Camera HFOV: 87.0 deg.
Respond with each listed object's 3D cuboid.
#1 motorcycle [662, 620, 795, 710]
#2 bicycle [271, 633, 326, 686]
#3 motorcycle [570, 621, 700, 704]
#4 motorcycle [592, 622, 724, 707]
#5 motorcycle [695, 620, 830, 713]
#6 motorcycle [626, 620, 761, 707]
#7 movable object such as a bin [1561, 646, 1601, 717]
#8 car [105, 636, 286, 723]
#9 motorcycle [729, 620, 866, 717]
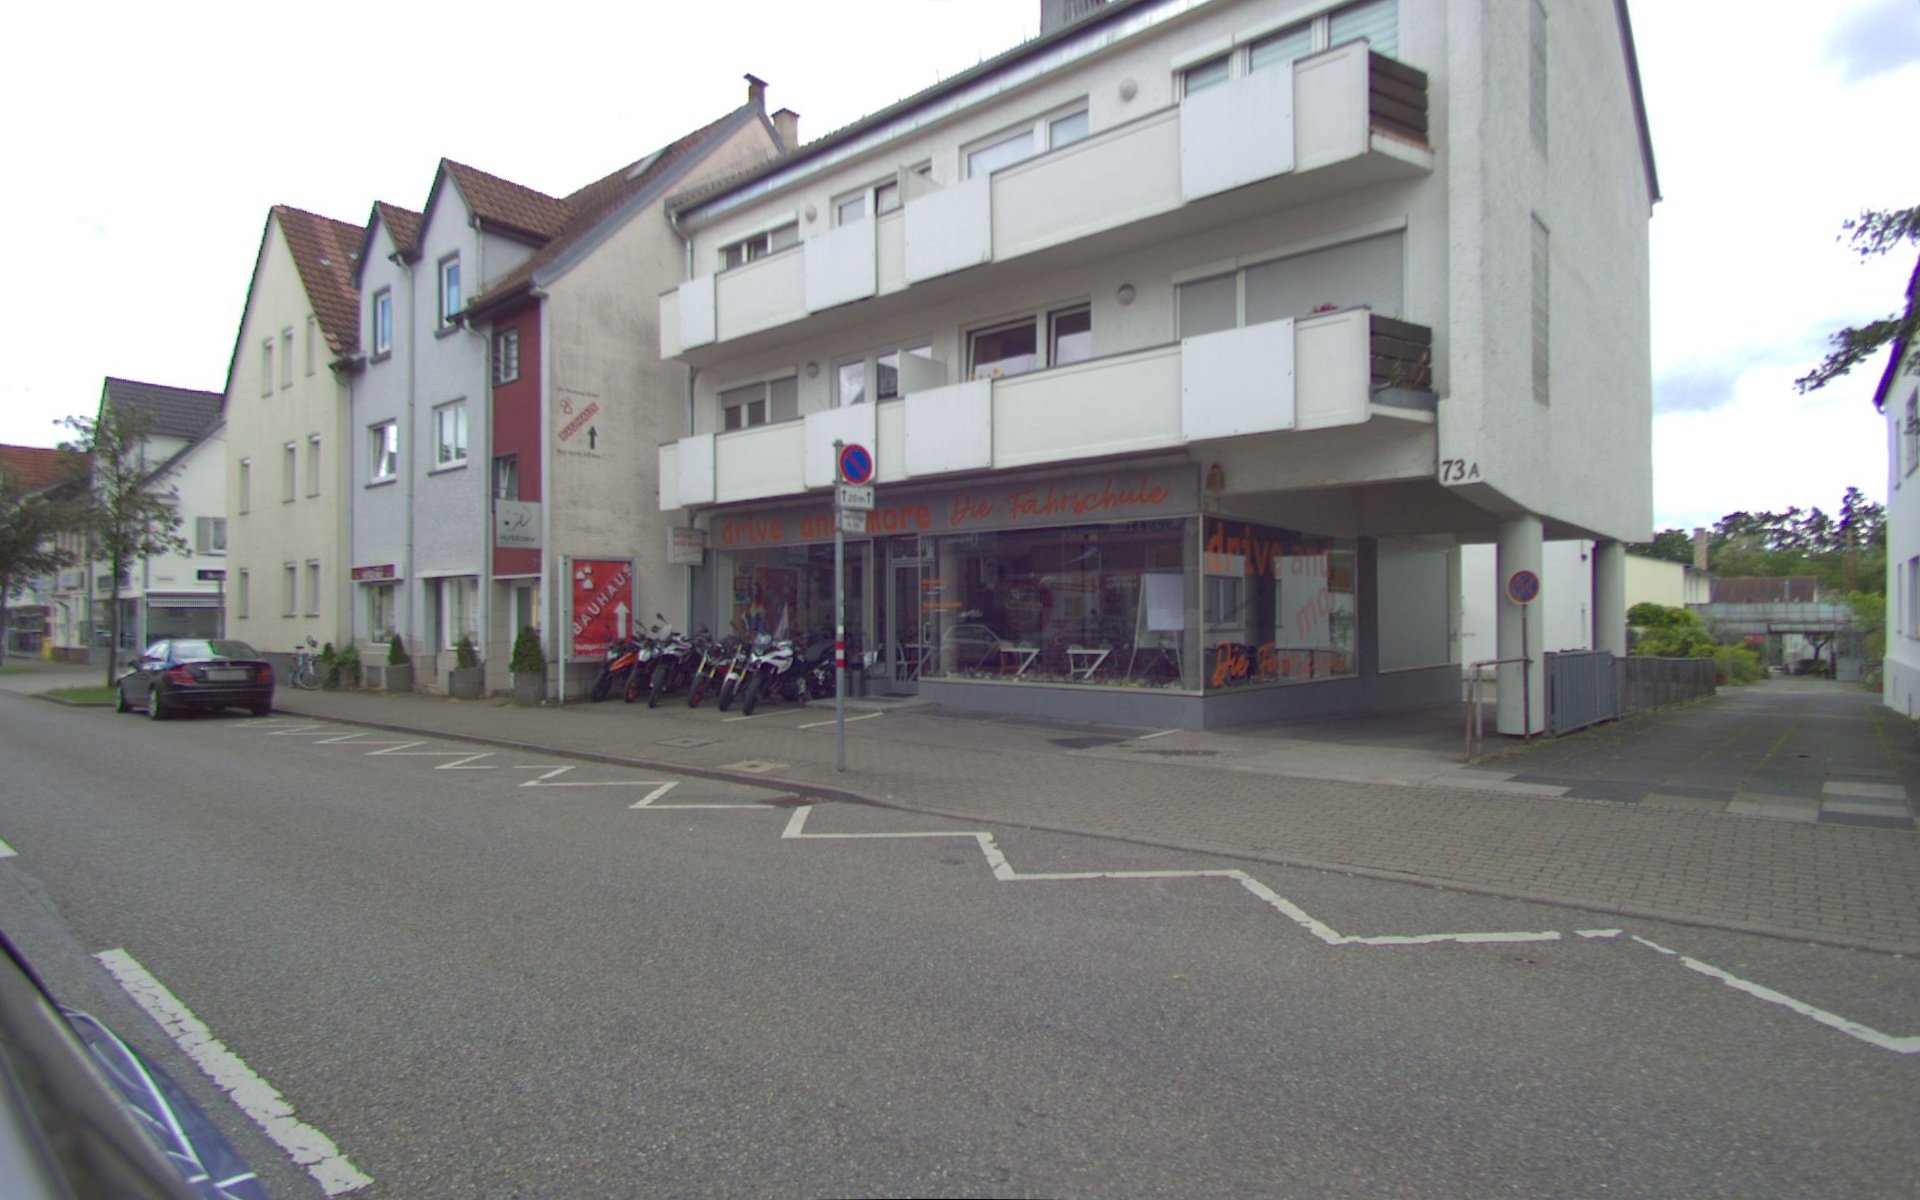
[{"bbox_3d":[-3.787,1.035,16.744,0.612,1.274,2.203,-2,1,39],"label":"motorcycle"},{"bbox_3d":[-15.746,1.390,24.064,2.022,1.205,0.509,-1,-1,40],"label":"bicycle"},{"bbox_3d":[-5.773,1.082,18.096,0.612,1.274,2.203,-2,1,39],"label":"motorcycle"},{"bbox_3d":[-5.233,1.080,17.662,0.612,1.274,2.203,-2,1,39],"label":"motorcycle"},{"bbox_3d":[-3.111,1.018,16.170,0.612,1.274,2.203,-2,1,39],"label":"motorcycle"},{"bbox_3d":[-4.492,1.036,17.223,0.698,1.274,2.203,-2,1,39],"label":"motorcycle"},{"bbox_3d":[9.498,1.233,15.481,0.441,1.065,0.483,-2,-3,40],"label":"movable object such as a bin"},{"bbox_3d":[-14.412,1.405,19.002,4.337,1.428,1.770,-1,-2,40],"label":"car"},{"bbox_3d":[-2.455,1.002,15.582,0.612,1.274,2.203,-2,1,39],"label":"motorcycle"}]
